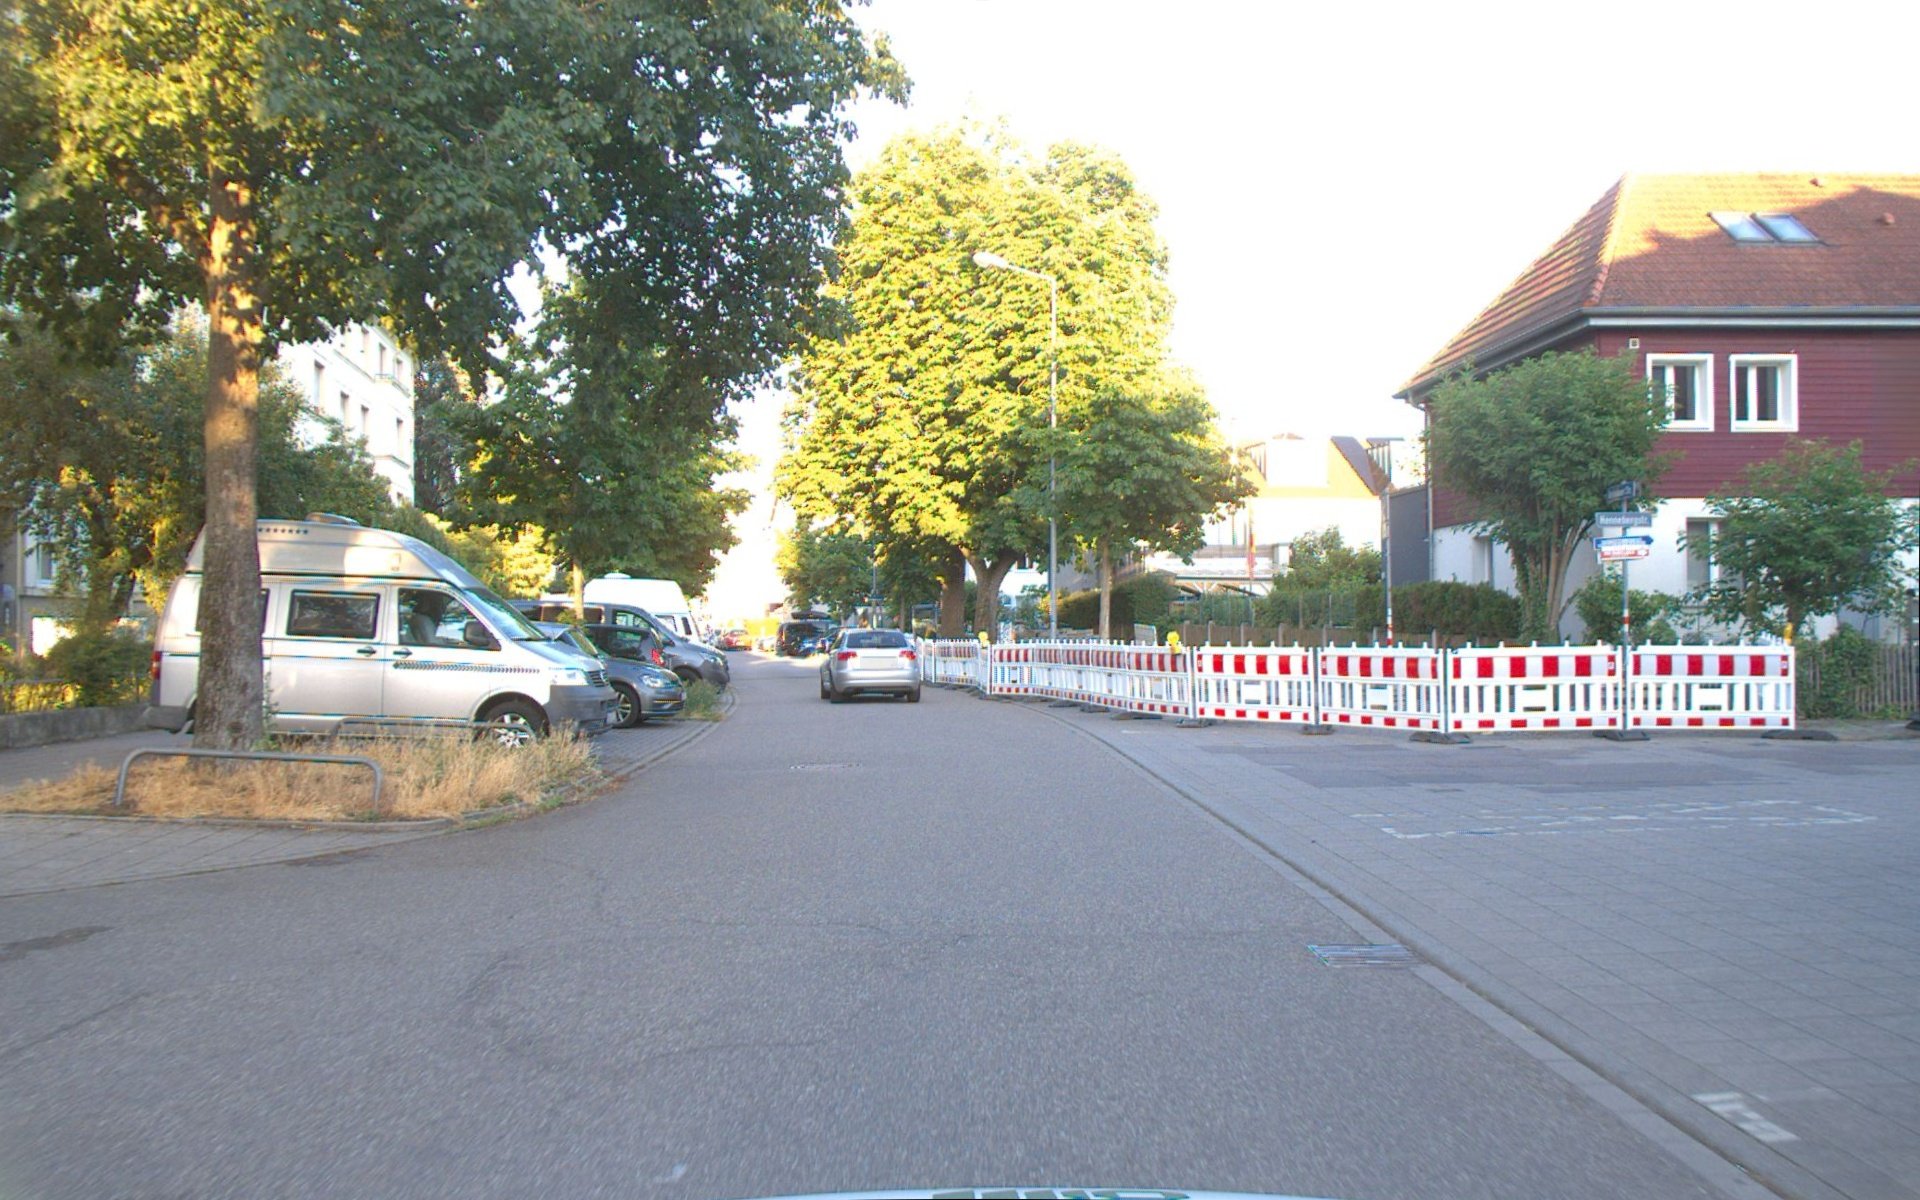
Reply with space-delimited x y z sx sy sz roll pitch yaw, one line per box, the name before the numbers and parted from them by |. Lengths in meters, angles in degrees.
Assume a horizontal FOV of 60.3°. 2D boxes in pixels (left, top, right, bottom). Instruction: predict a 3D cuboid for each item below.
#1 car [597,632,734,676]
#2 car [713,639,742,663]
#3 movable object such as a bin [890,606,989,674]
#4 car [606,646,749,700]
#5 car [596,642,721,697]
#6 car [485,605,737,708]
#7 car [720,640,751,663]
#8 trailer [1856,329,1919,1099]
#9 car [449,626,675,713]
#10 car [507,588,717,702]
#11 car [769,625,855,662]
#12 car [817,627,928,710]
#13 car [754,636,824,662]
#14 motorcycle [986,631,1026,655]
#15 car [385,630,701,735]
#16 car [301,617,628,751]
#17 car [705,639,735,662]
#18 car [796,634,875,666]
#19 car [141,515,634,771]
car | -10.421 1.921 58.686 4.685 1.496 1.876 0 -2 -10
car | -16.239 3.542 115.544 1.636 1.601 3.427 1 -1 -14
movable object such as a bin | -0.825 1.500 62.472 2.584 2.445 5.176 1 -1 -15
car | -8.905 2.285 52.102 4.331 1.643 1.893 1 -1 -14
car | -11.605 2.670 63.804 4.686 2.049 1.995 0 -1 -11
car | -6.635 1.079 31.947 4.585 1.906 1.996 0 -1 -8
car | -14.965 3.404 110.241 1.701 1.510 3.544 1 -1 -14
trailer | 4.732 0.322 4.129 3.906 2.226 1.999 0 -1 -1
car | -6.992 1.218 29.356 3.697 1.464 1.653 1 -1 -7
car | -7.729 1.014 37.136 4.417 2.474 1.996 0 -1 -8
car | -8.351 2.480 93.428 4.486 2.058 2.090 1 -1 -18
car | -1.799 1.319 32.769 1.774 1.514 3.991 0 -1 -9
car | -10.658 3.059 103.110 4.089 1.600 1.786 1 -1 -21
motorcycle | 2.097 1.977 75.899 1.822 1.125 0.575 1 -2 -32
car | -5.972 1.187 24.071 4.158 1.418 1.683 1 -2 -2
car | -6.344 1.075 21.512 3.728 1.549 1.651 2 -2 -4
car | -17.481 3.693 120.341 1.778 1.641 3.567 1 -1 -14
car | -6.675 2.686 88.777 3.929 1.680 1.754 1 -1 -21
car | -6.082 0.467 18.034 4.635 2.615 1.999 0 -1 -1
